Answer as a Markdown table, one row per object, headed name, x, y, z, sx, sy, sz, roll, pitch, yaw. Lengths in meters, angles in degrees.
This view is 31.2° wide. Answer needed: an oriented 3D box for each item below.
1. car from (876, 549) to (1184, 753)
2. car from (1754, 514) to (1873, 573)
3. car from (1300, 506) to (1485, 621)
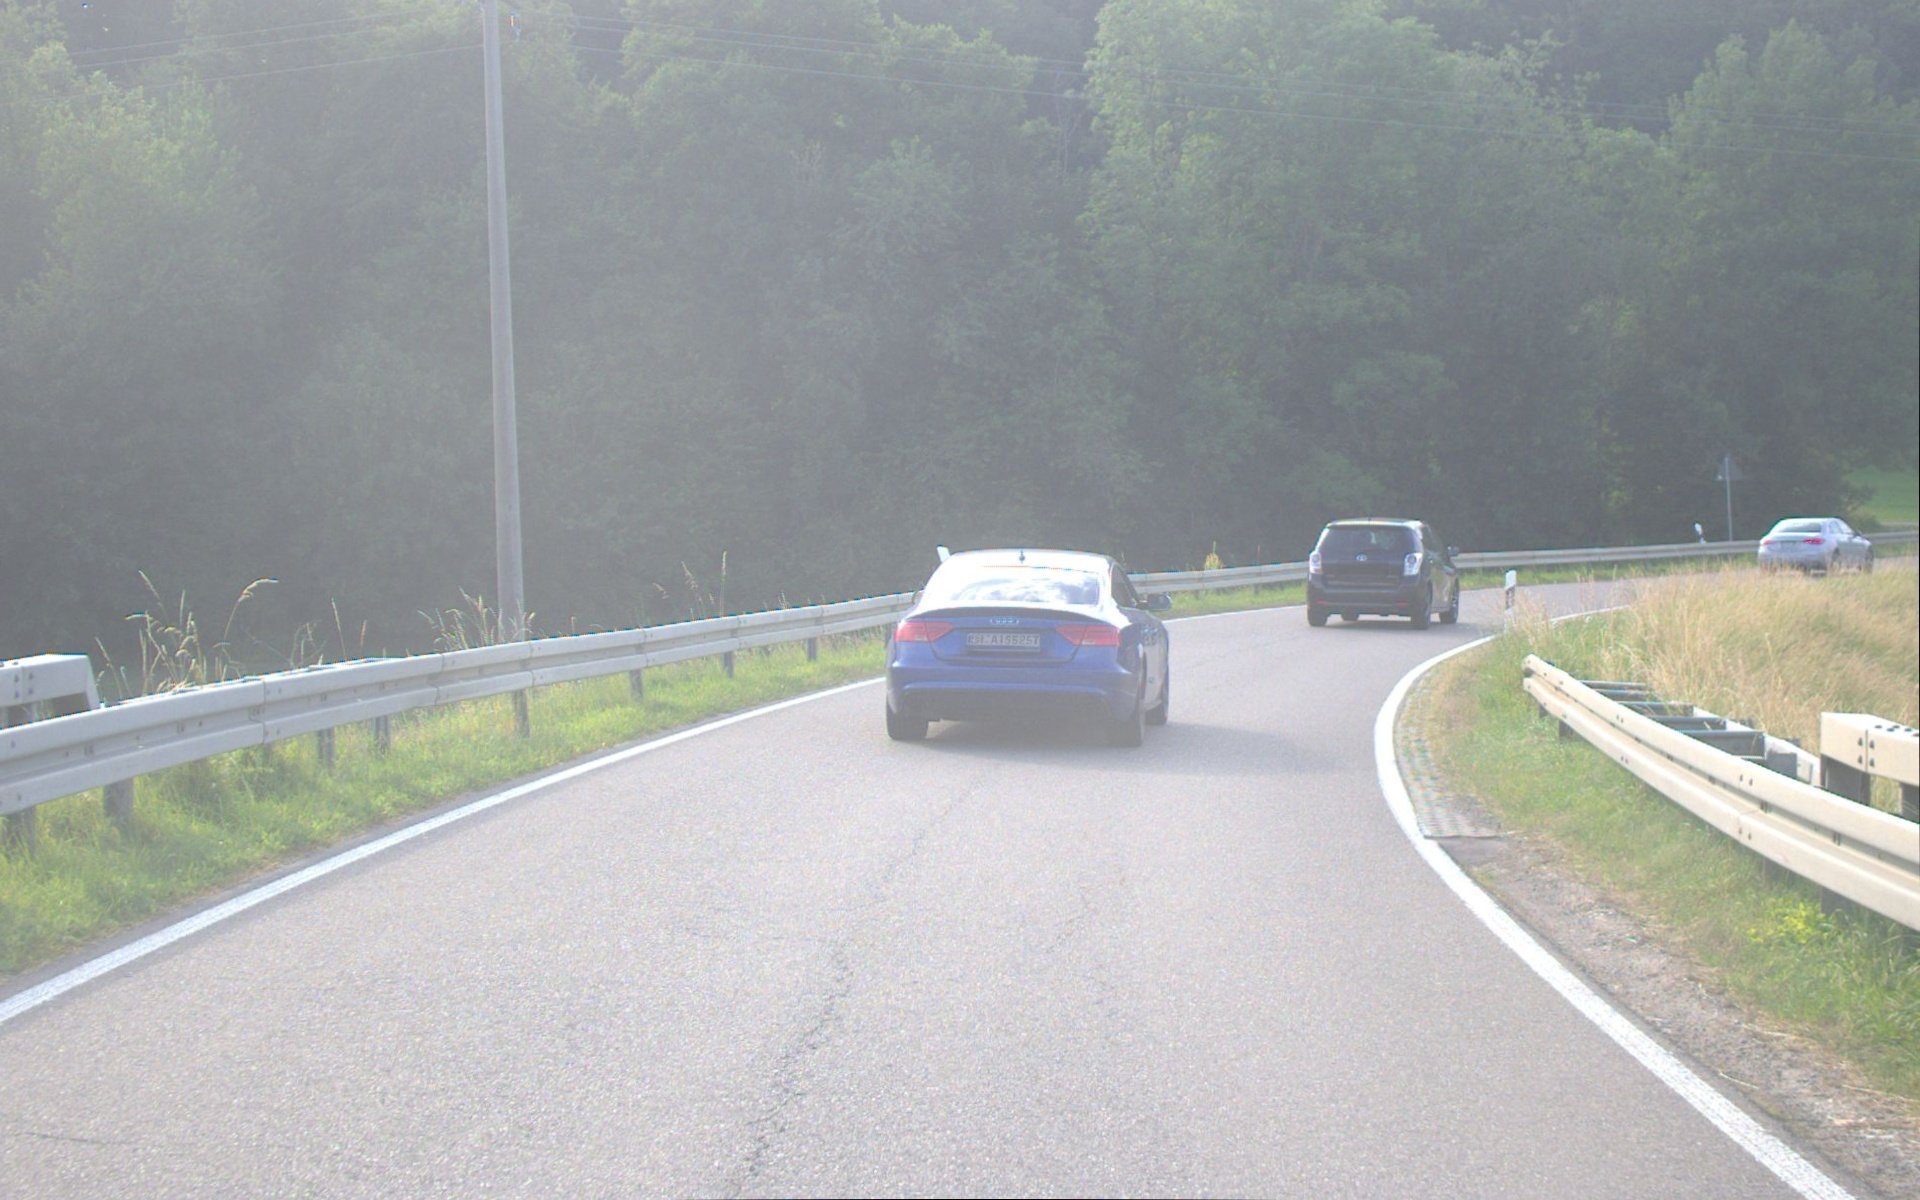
| name | x | y | z | sx | sy | sz | roll | pitch | yaw |
| --- | --- | --- | --- | --- | --- | --- | --- | --- | --- |
| car | 0.612 | 0.312 | 25.580 | 1.819 | 1.334 | 4.349 | 1 | 1 | 7 |
| car | 21.081 | -1.404 | 84.804 | 1.685 | 1.371 | 3.993 | -1 | 1 | 32 |
| car | 6.533 | -0.571 | 51.628 | 1.864 | 1.563 | 3.996 | 4 | 2 | 20 |
